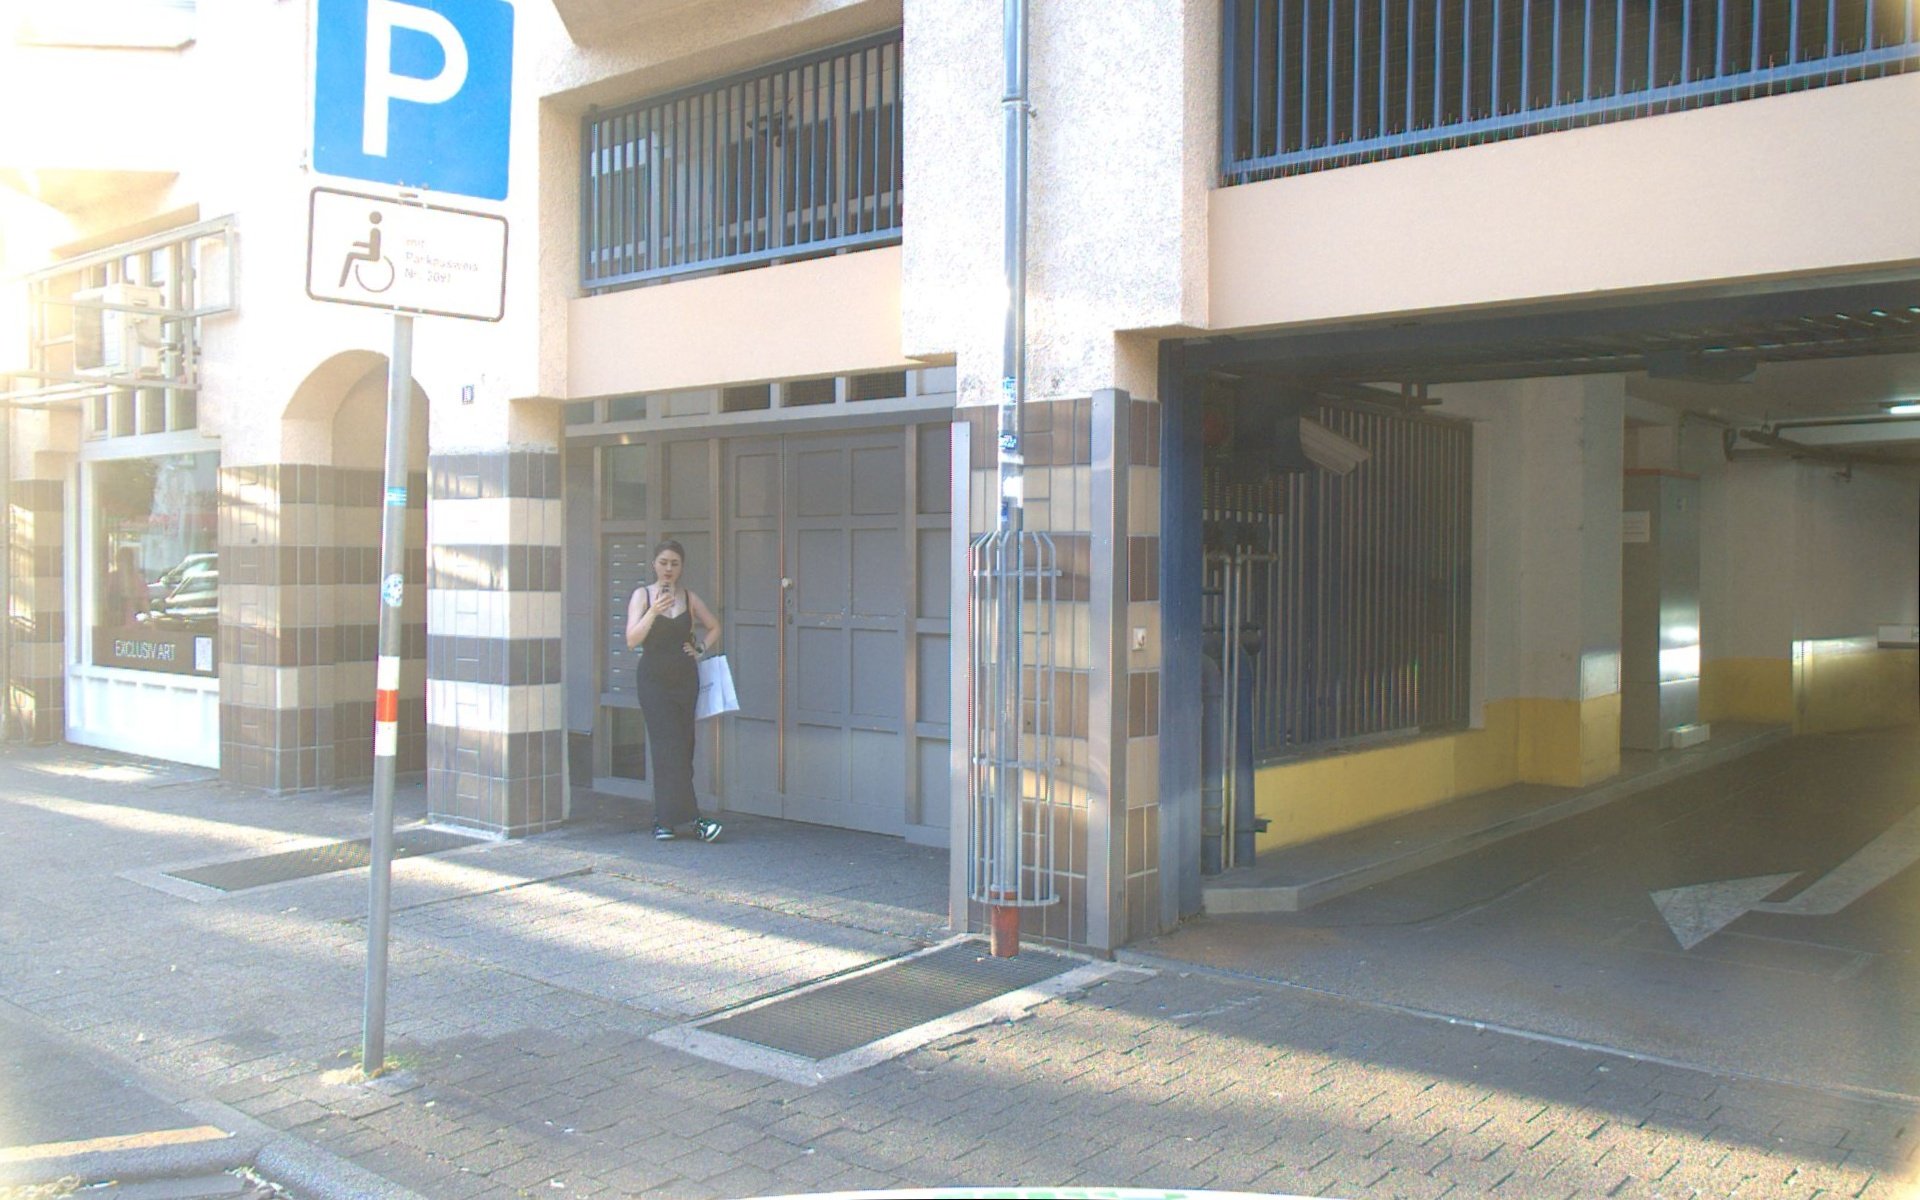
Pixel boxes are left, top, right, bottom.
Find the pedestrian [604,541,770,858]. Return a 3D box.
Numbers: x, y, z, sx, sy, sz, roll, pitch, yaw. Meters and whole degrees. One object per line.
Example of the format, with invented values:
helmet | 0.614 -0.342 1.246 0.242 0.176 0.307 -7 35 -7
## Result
pedestrian | -1.448 0.496 8.735 0.765 1.600 0.530 0 1 -22
